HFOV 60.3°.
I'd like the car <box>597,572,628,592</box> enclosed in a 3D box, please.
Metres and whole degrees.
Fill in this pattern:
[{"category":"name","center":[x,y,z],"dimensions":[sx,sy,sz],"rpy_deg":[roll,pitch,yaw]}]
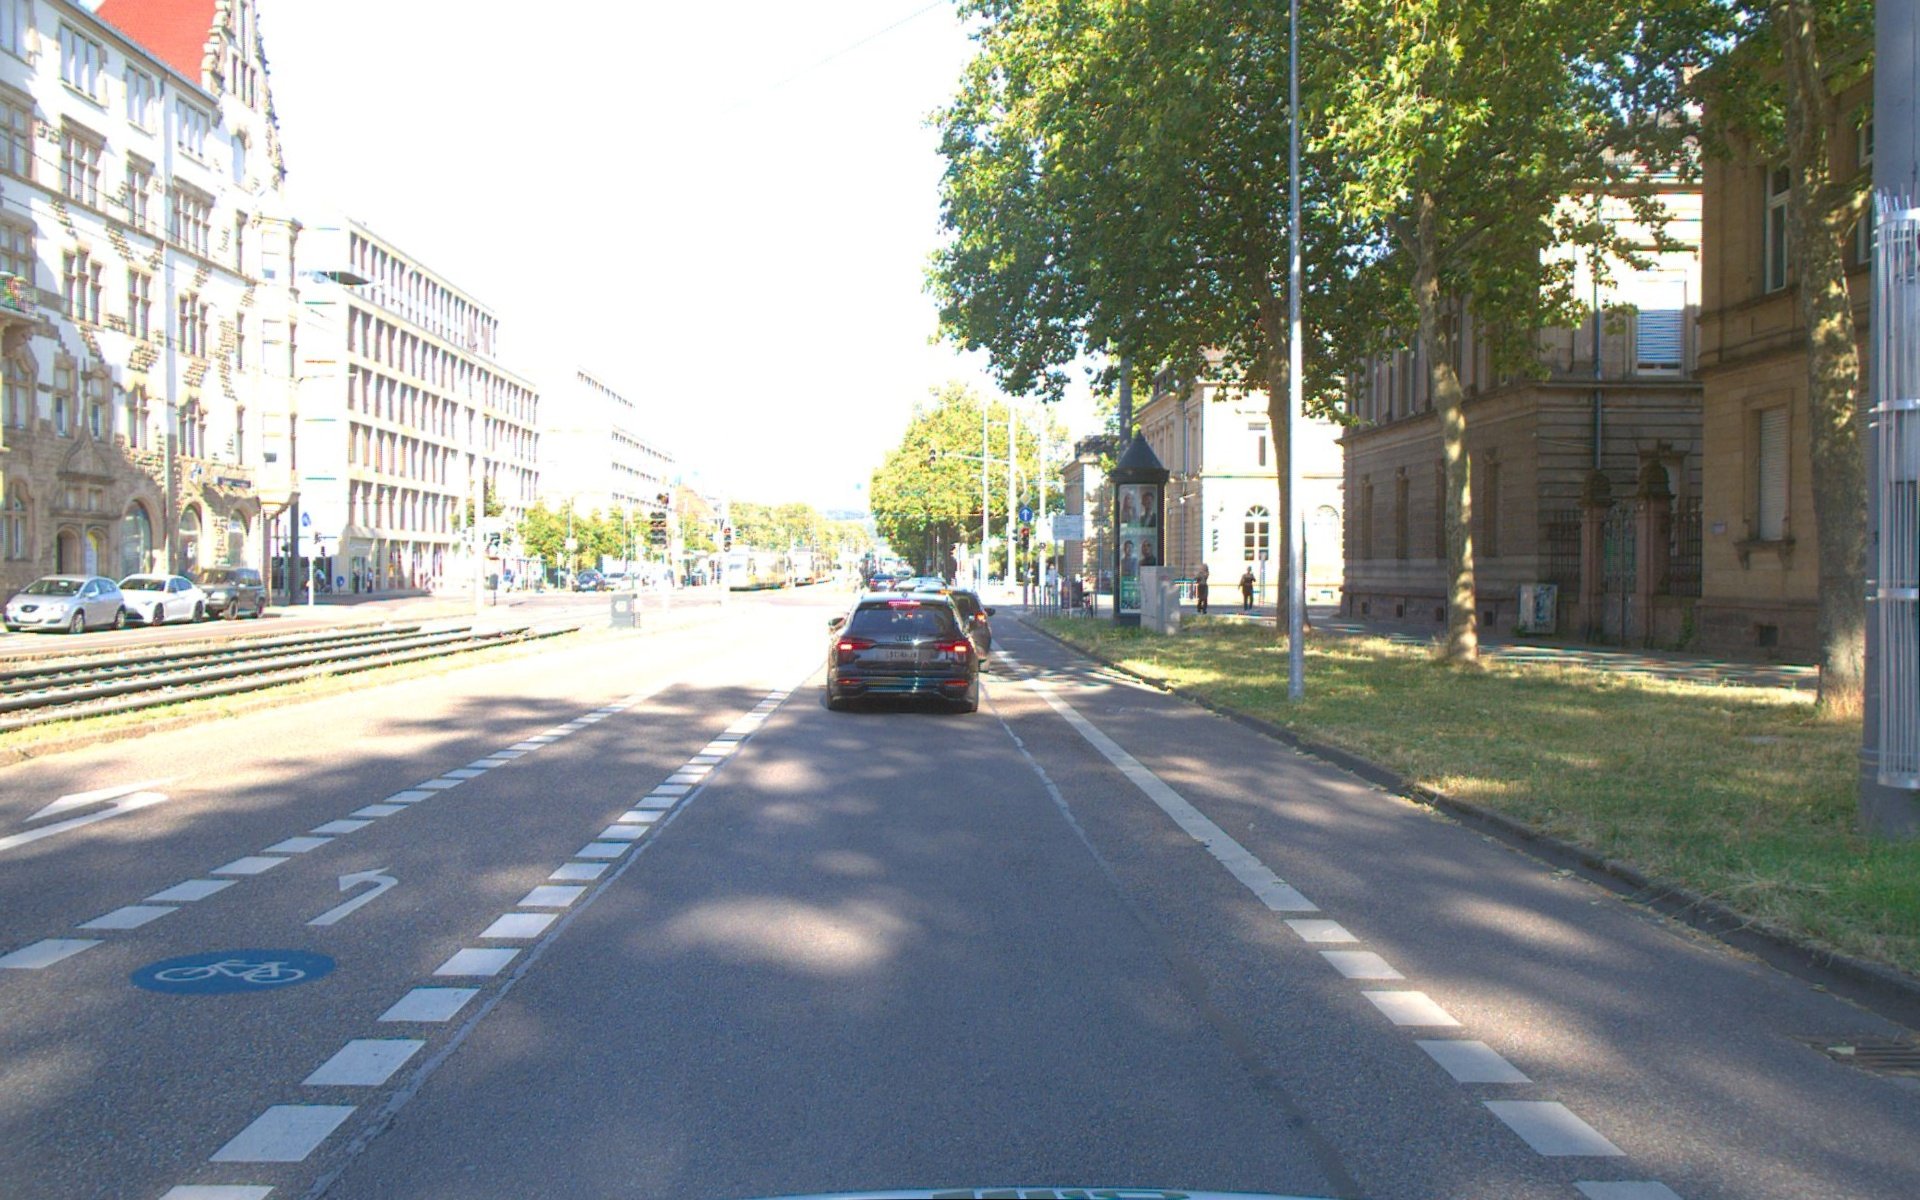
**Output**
[{"category":"car","center":[-26.787,-1.403,127.579],"dimensions":[1.759,1.536,3.997],"rpy_deg":[0,1,-4]}]

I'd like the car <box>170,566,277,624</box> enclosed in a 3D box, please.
[{"category":"car","center":[-24.202,-0.198,54.492],"dimensions":[1.759,1.748,4.183],"rpy_deg":[3,1,-3]}]

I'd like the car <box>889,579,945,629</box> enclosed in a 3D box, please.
[{"category":"car","center":[-1.388,0.104,54.155],"dimensions":[1.758,1.536,3.999],"rpy_deg":[0,1,-1]}]

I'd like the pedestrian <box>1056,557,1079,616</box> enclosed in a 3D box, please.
[{"category":"pedestrian","center":[3.259,-0.418,49.980],"dimensions":[0.575,1.758,0.651],"rpy_deg":[2,1,11]}]

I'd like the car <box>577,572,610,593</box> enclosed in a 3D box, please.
[{"category":"car","center":[-26.627,-1.276,120.183],"dimensions":[1.759,1.536,3.997],"rpy_deg":[0,1,-4]}]

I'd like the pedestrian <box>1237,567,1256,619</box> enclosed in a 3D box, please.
[{"category":"pedestrian","center":[9.859,-0.259,56.874],"dimensions":[0.575,1.758,0.651],"rpy_deg":[2,1,13]}]

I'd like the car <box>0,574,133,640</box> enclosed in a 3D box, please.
[{"category":"car","center":[-23.486,0.151,43.462],"dimensions":[1.760,1.536,3.995],"rpy_deg":[3,1,-6]}]

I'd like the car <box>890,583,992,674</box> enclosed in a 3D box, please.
[{"category":"car","center":[-0.375,0.473,30.718],"dimensions":[1.758,1.536,3.999],"rpy_deg":[0,1,-1]}]

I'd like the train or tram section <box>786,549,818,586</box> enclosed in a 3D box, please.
[{"category":"train or tram section","center":[-15.496,-3.156,162.813],"dimensions":[2.769,3.511,9.058],"rpy_deg":[0,1,-3]}]

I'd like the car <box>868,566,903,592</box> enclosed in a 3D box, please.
[{"category":"car","center":[-4.776,-1.323,106.274],"dimensions":[1.756,1.536,4.002],"rpy_deg":[2,0,4]}]

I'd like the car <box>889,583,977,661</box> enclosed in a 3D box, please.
[{"category":"car","center":[-0.584,0.418,35.306],"dimensions":[1.758,1.536,3.999],"rpy_deg":[0,1,-1]}]

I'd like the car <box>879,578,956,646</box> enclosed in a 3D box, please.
[{"category":"car","center":[-1.024,0.251,40.063],"dimensions":[1.758,1.536,3.999],"rpy_deg":[0,1,-1]}]

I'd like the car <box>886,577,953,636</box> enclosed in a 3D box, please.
[{"category":"car","center":[-1.111,0.144,45.699],"dimensions":[1.758,1.536,3.999],"rpy_deg":[0,1,-1]}]

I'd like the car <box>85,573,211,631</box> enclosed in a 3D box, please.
[{"category":"car","center":[-23.943,0.028,48.932],"dimensions":[1.759,1.536,4.183],"rpy_deg":[3,1,-3]}]

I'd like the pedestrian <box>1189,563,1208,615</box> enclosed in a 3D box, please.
[{"category":"pedestrian","center":[8.238,-0.385,57.043],"dimensions":[0.575,1.758,0.651],"rpy_deg":[2,1,11]}]

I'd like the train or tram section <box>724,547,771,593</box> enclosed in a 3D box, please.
[{"category":"train or tram section","center":[-16.828,-2.392,131.444],"dimensions":[2.768,3.511,9.062],"rpy_deg":[0,1,-2]}]

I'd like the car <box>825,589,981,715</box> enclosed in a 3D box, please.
[{"category":"car","center":[-0.744,0.587,21.229],"dimensions":[1.796,1.415,4.157],"rpy_deg":[0,1,-2]}]
